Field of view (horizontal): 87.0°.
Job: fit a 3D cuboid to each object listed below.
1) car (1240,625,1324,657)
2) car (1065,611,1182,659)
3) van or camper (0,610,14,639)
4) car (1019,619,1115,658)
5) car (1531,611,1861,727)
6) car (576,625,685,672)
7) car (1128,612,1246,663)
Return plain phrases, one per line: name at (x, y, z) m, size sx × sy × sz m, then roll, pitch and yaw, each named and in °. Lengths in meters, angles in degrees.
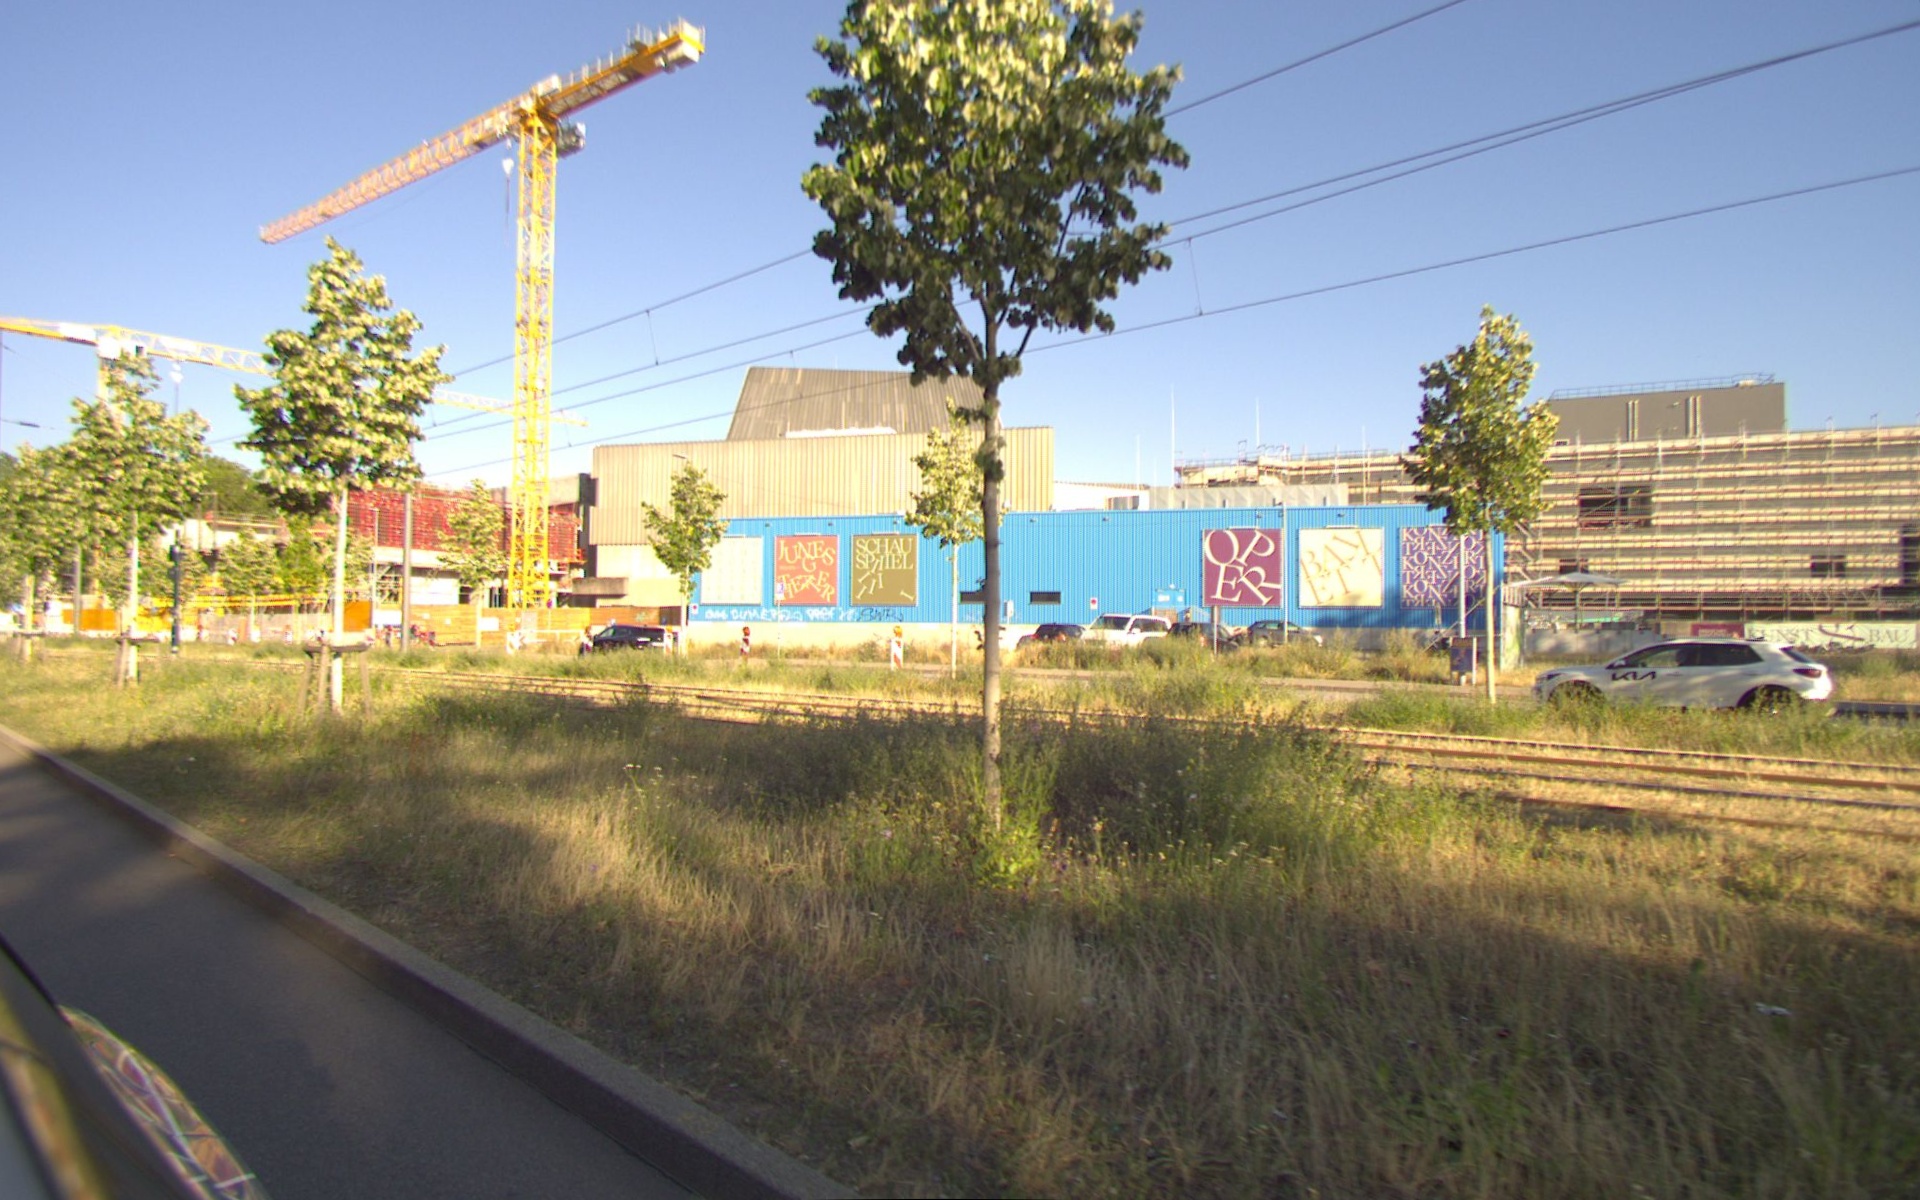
car at (17.123, 2.179, 53.996) m, size 4.187 × 1.648 × 1.405 m, roll 0°, pitch -2°, yaw 17°
car at (6.367, 1.358, 38.984) m, size 2.123 × 1.730 × 5.174 m, roll -1°, pitch -2°, yaw 40°
van or camper at (-89.000, 2.268, 92.421) m, size 7.182 × 2.529 × 2.203 m, roll -2°, pitch -5°, yaw 34°
car at (4.336, 1.527, 40.659) m, size 1.998 × 1.496 × 3.946 m, roll -1°, pitch -2°, yaw 40°
car at (11.915, 1.044, 16.574) m, size 4.165 × 1.655 × 1.973 m, roll -1°, pitch -2°, yaw 41°
car at (-12.541, 1.801, 38.394) m, size 4.268 × 1.663 × 1.973 m, roll -1°, pitch -2°, yaw 40°
car at (8.394, 1.367, 37.079) m, size 2.123 × 1.730 × 5.174 m, roll -1°, pitch -2°, yaw 40°
